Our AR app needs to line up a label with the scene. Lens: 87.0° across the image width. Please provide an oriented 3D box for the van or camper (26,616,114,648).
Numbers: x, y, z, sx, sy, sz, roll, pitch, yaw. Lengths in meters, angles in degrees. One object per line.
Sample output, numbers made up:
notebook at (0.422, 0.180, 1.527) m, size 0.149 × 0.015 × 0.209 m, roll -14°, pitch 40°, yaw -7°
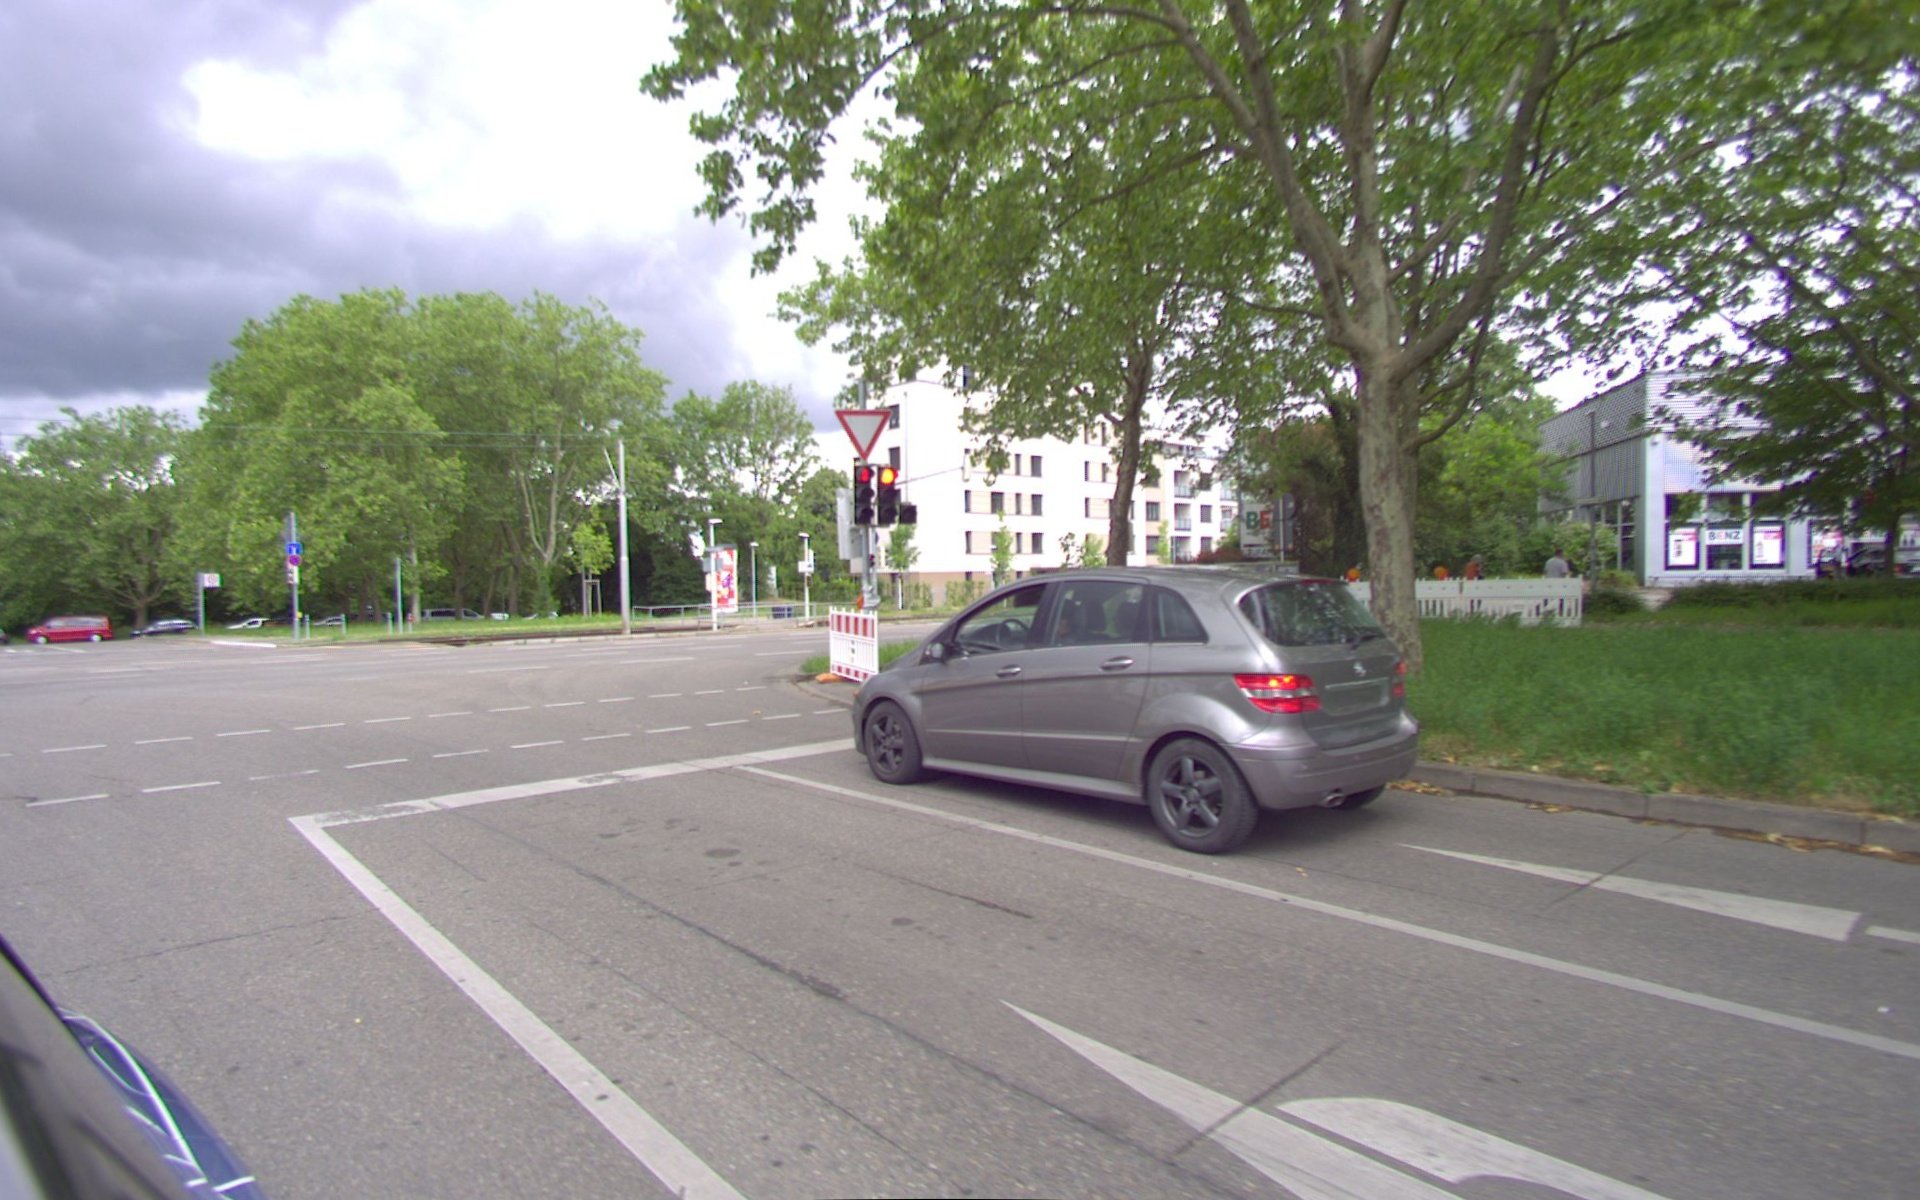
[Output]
van or camper at (-63.869, 2.280, 72.757) m, size 4.484 × 2.040 × 2.053 m, roll -2°, pitch 0°, yaw -35°

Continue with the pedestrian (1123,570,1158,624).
pedestrian at (5.098, -0.097, 28.603) m, size 0.688 × 1.500 × 0.689 m, roll -1°, pitch 0°, yaw -38°

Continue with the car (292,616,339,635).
car at (-52.126, 2.031, 81.868) m, size 3.088 × 1.354 × 1.451 m, roll -2°, pitch 0°, yaw -35°

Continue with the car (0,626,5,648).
car at (-68.031, 2.636, 69.591) m, size 3.216 × 1.513 × 1.608 m, roll -2°, pitch 0°, yaw -35°

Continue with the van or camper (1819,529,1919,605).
van or camper at (22.780, -0.792, 24.448) m, size 1.833 × 1.696 × 3.971 m, roll -2°, pitch 0°, yaw 21°

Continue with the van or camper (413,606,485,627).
van or camper at (-41.994, 1.344, 83.258) m, size 4.929 × 1.544 × 1.867 m, roll -2°, pitch 0°, yaw -41°

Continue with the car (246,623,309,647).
car at (-50.530, 2.563, 74.933) m, size 3.727 × 1.674 × 1.667 m, roll -1°, pitch 0°, yaw -41°

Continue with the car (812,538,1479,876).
car at (0.932, 0.510, 7.024) m, size 1.745 × 1.598 × 4.418 m, roll -1°, pitch 0°, yaw -42°

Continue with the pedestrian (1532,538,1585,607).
pedestrian at (14.223, -0.632, 24.055) m, size 0.837 × 1.598 × 0.798 m, roll -1°, pitch 0°, yaw -35°

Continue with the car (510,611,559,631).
car at (-39.126, 1.886, 93.025) m, size 3.754 × 1.661 × 1.701 m, roll -3°, pitch 1°, yaw -45°

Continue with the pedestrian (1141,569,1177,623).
pedestrian at (5.711, -0.113, 29.004) m, size 0.688 × 1.500 × 0.722 m, roll -1°, pitch 0°, yaw -37°

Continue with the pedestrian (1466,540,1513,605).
pedestrian at (12.950, -0.661, 24.780) m, size 0.644 × 1.550 × 0.775 m, roll -1°, pitch 0°, yaw -18°

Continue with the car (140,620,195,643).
car at (-59.403, 2.353, 75.912) m, size 3.088 × 1.513 × 1.608 m, roll -2°, pitch 0°, yaw -35°

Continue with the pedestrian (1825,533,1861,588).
pedestrian at (28.893, -1.270, 33.121) m, size 0.614 × 1.758 × 0.736 m, roll -1°, pitch 0°, yaw 15°

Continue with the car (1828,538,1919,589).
car at (29.691, -1.120, 32.302) m, size 1.722 × 1.511 × 4.237 m, roll -1°, pitch 0°, yaw 22°

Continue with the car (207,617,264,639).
car at (-56.326, 2.167, 78.777) m, size 3.537 × 1.548 × 1.878 m, roll -2°, pitch 0°, yaw -34°
